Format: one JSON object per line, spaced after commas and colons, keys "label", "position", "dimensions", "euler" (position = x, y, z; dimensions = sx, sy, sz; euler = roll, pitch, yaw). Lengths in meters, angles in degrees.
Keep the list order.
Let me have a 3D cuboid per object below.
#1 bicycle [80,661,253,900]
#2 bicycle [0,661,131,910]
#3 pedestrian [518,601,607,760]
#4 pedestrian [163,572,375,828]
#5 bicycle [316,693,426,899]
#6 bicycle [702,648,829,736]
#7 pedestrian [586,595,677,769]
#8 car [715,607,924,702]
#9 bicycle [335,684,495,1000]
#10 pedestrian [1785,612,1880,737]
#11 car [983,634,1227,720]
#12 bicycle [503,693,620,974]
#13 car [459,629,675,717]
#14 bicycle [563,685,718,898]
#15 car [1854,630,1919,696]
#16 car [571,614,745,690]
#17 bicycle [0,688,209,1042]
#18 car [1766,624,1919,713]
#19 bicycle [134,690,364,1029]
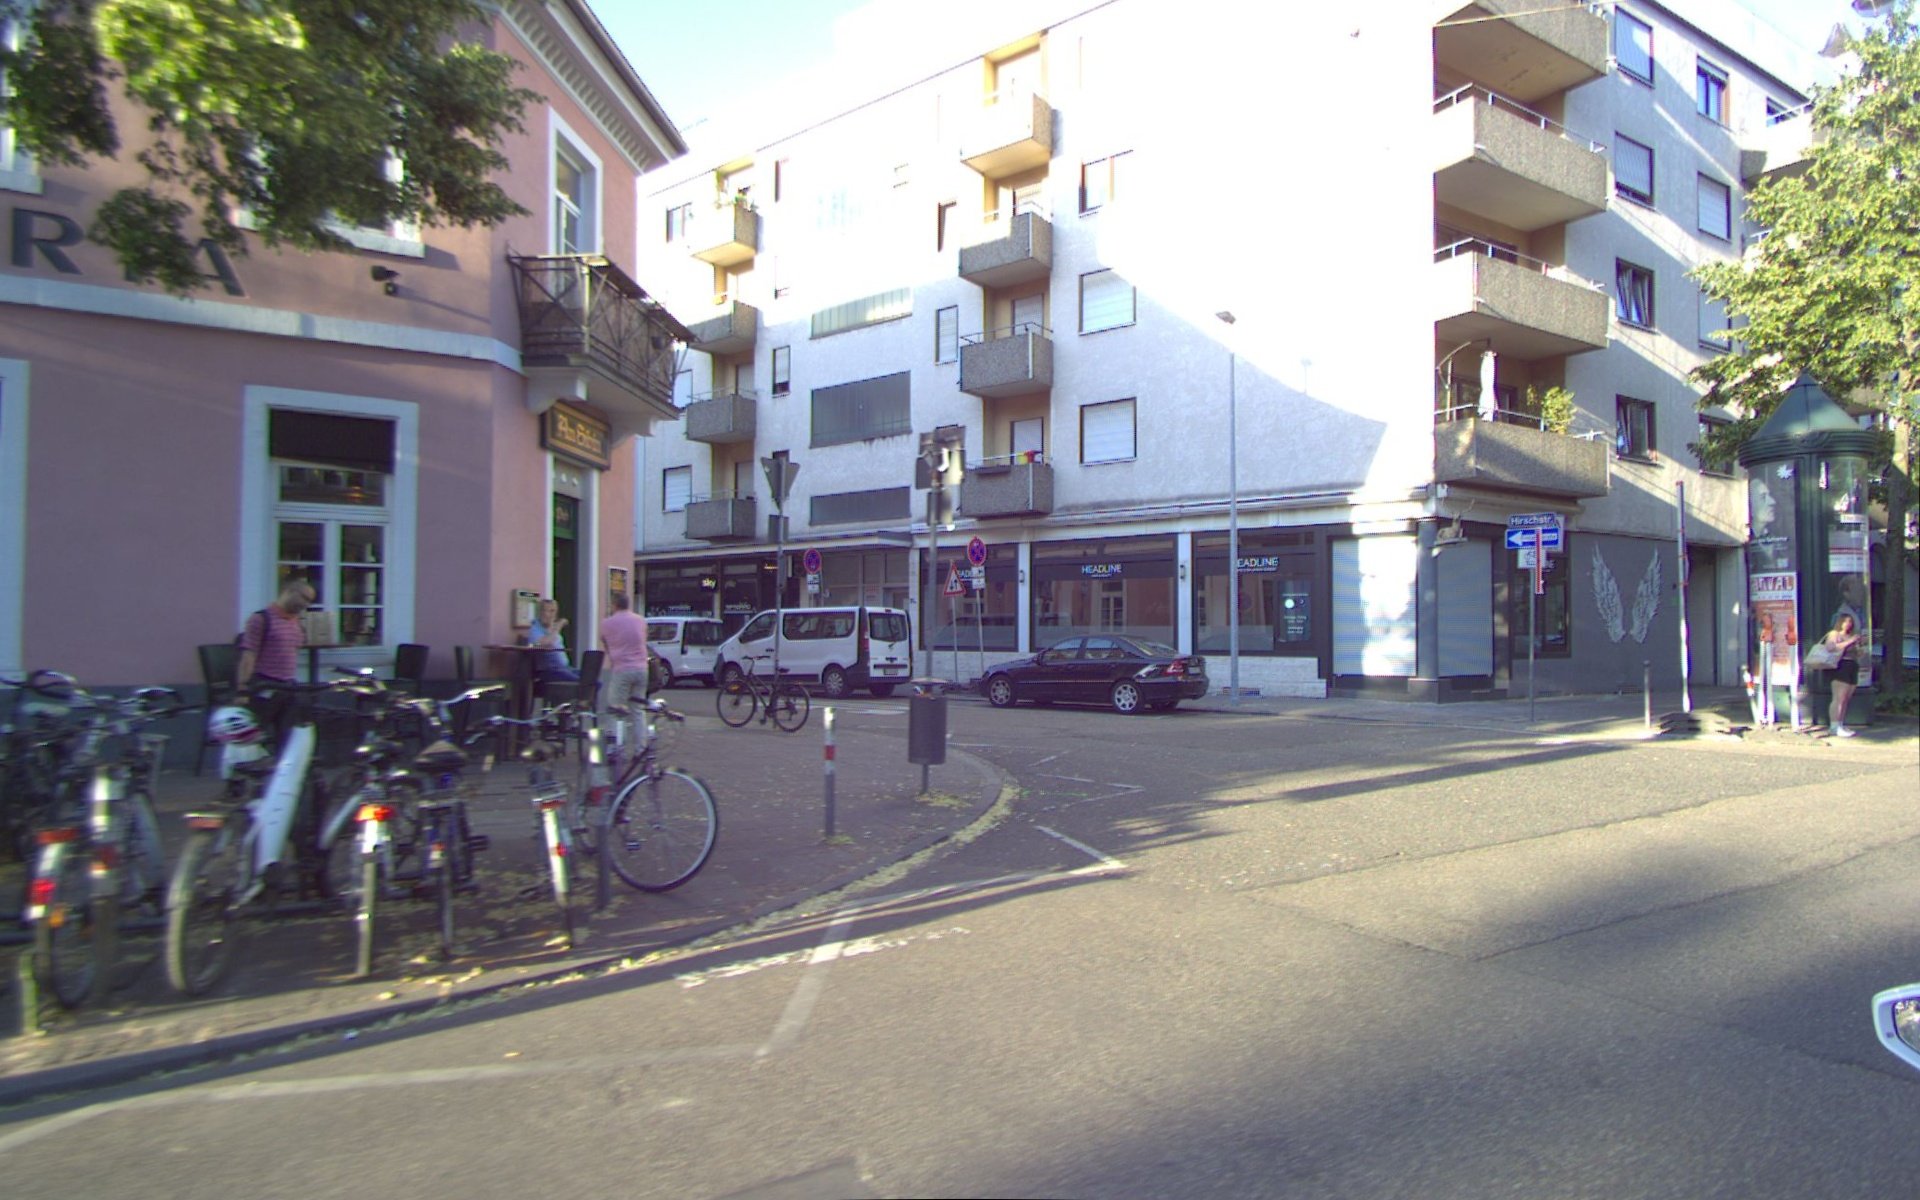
{"label": "bicycle", "position": [-4.752, 0.997, 6.107], "dimensions": [0.439, 1.164, 1.677], "euler": [2, -1, -26]}
{"label": "bicycle", "position": [-5.300, 0.976, 5.749], "dimensions": [0.439, 1.164, 1.677], "euler": [2, -1, -26]}
{"label": "pedestrian", "position": [-4.340, 0.869, 10.985], "dimensions": [0.715, 1.672, 0.500], "euler": [4, -3, -40]}
{"label": "pedestrian", "position": [-5.244, 0.713, 7.676], "dimensions": [0.803, 1.789, 1.040], "euler": [0, -1, 21]}
{"label": "bicycle", "position": [-3.516, 1.112, 6.064], "dimensions": [0.439, 0.993, 1.320], "euler": [2, -1, -26]}
{"label": "bicycle", "position": [-2.948, 1.362, 15.188], "dimensions": [1.906, 1.208, 0.585], "euler": [0, -2, 27]}
{"label": "pedestrian", "position": [-3.481, 0.854, 10.645], "dimensions": [0.715, 1.760, 0.500], "euler": [4, -3, -40]}
{"label": "car", "position": [-3.253, 1.206, 23.016], "dimensions": [4.451, 1.971, 2.066], "euler": [-1, -3, 33]}
{"label": "bicycle", "position": [-2.563, 1.036, 4.851], "dimensions": [0.438, 1.093, 1.679], "euler": [2, 0, -22]}
{"label": "pedestrian", "position": [12.323, 1.026, 14.193], "dimensions": [0.821, 1.708, 0.709], "euler": [1, -1, -21]}
{"label": "car", "position": [2.677, 1.369, 18.947], "dimensions": [4.142, 1.398, 1.992], "euler": [-1, -2, 38]}
{"label": "bicycle", "position": [-2.051, 1.089, 5.188], "dimensions": [0.438, 1.035, 1.679], "euler": [2, 0, -22]}
{"label": "car", "position": [-7.789, 1.337, 19.750], "dimensions": [4.458, 1.490, 1.990], "euler": [-1, -1, 38]}
{"label": "bicycle", "position": [-2.041, 1.123, 6.310], "dimensions": [0.466, 1.073, 1.476], "euler": [2, -1, -35]}
{"label": "car", "position": [22.168, 1.426, 21.720], "dimensions": [2.017, 1.410, 3.778], "euler": [2, -1, -26]}
{"label": "car", "position": [-8.177, 1.352, 27.075], "dimensions": [4.451, 1.891, 2.066], "euler": [-1, -3, 33]}
{"label": "bicycle", "position": [-3.697, 1.016, 4.380], "dimensions": [0.439, 1.093, 1.674], "euler": [2, 0, -30]}
{"label": "car", "position": [17.903, 1.258, 18.448], "dimensions": [1.790, 1.562, 4.524], "euler": [1, -1, -30]}
{"label": "bicycle", "position": [-3.156, 1.044, 4.598], "dimensions": [0.438, 1.093, 1.679], "euler": [2, 0, -22]}
